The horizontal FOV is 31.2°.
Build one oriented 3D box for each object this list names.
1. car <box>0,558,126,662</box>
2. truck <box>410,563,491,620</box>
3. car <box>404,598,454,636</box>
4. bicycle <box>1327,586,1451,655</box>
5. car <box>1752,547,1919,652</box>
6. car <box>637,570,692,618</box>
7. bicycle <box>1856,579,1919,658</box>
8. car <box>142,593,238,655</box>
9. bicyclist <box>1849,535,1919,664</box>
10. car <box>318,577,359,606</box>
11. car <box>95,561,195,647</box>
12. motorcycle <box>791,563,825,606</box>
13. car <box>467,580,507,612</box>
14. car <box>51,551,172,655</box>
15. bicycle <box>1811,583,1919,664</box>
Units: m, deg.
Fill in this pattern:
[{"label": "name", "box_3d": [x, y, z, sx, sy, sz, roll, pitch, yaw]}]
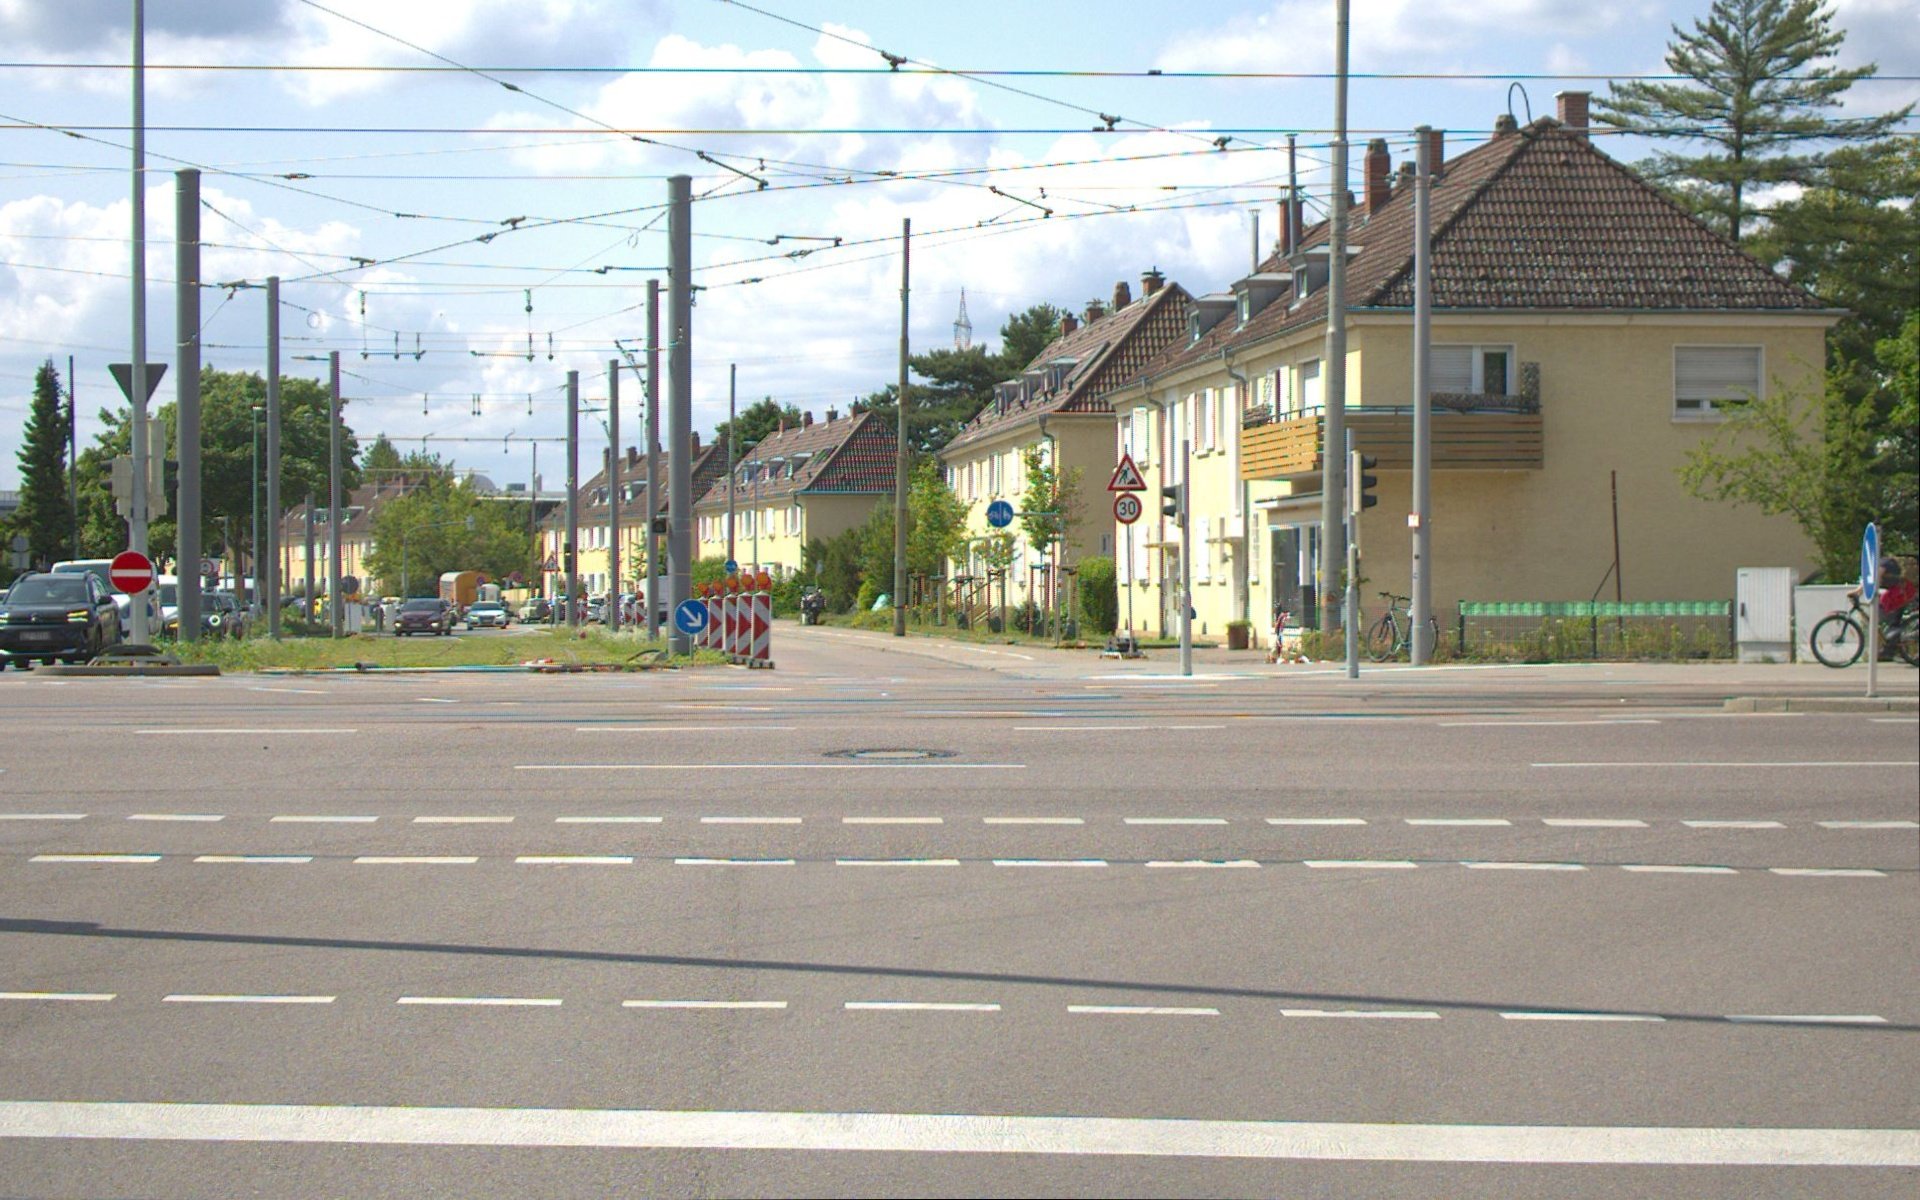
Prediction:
[{"label": "car", "box_3d": [-15.639, 0.146, 59.563, 1.786, 1.715, 4.442, 0, 1, -7]}, {"label": "truck", "box_3d": [-32.307, -0.518, 217.536, 2.640, 3.482, 9.439, 0, 0, -24]}, {"label": "car", "box_3d": [-21.590, 0.673, 139.855, 1.843, 1.489, 4.857, 0, 0, -7]}, {"label": "bicycle", "box_3d": [6.929, 0.330, 55.664, 0.593, 1.093, 2.276, 0, 0, -36]}, {"label": "car", "box_3d": [14.430, 0.013, 55.401, 1.821, 1.615, 4.001, 0, -1, -10]}, {"label": "car", "box_3d": [-13.549, -0.278, 157.281, 2.065, 2.142, 4.879, 0, 0, -10]}, {"label": "bicycle", "box_3d": [13.678, 0.259, 48.625, 1.806, 1.101, 0.701, 0, 0, 39]}, {"label": "car", "box_3d": [-18.070, 0.549, 80.799, 1.914, 1.414, 4.001, 0, 0, -8]}, {"label": "bicyclist", "box_3d": [12.865, -0.001, 47.660, 0.958, 1.769, 0.719, 0, 0, 22]}, {"label": "car", "box_3d": [-42.521, -0.572, 235.028, 1.993, 1.904, 4.001, -1, 1, -22]}, {"label": "car", "box_3d": [-17.476, 0.085, 73.851, 1.732, 1.776, 4.406, -1, 0, -9]}, {"label": "motorcycle", "box_3d": [-5.832, -0.587, 132.004, 1.066, 1.630, 2.084, 0, 0, -8]}, {"label": "car", "box_3d": [-23.007, -0.191, 167.367, 1.843, 1.556, 4.188, 0, 0, -7]}, {"label": "car", "box_3d": [-16.249, 0.057, 65.979, 1.814, 1.915, 4.749, 0, 0, -9]}, {"label": "bicycle", "box_3d": [12.801, 0.324, 47.346, 2.029, 1.098, 0.714, 0, 0, 22]}]
